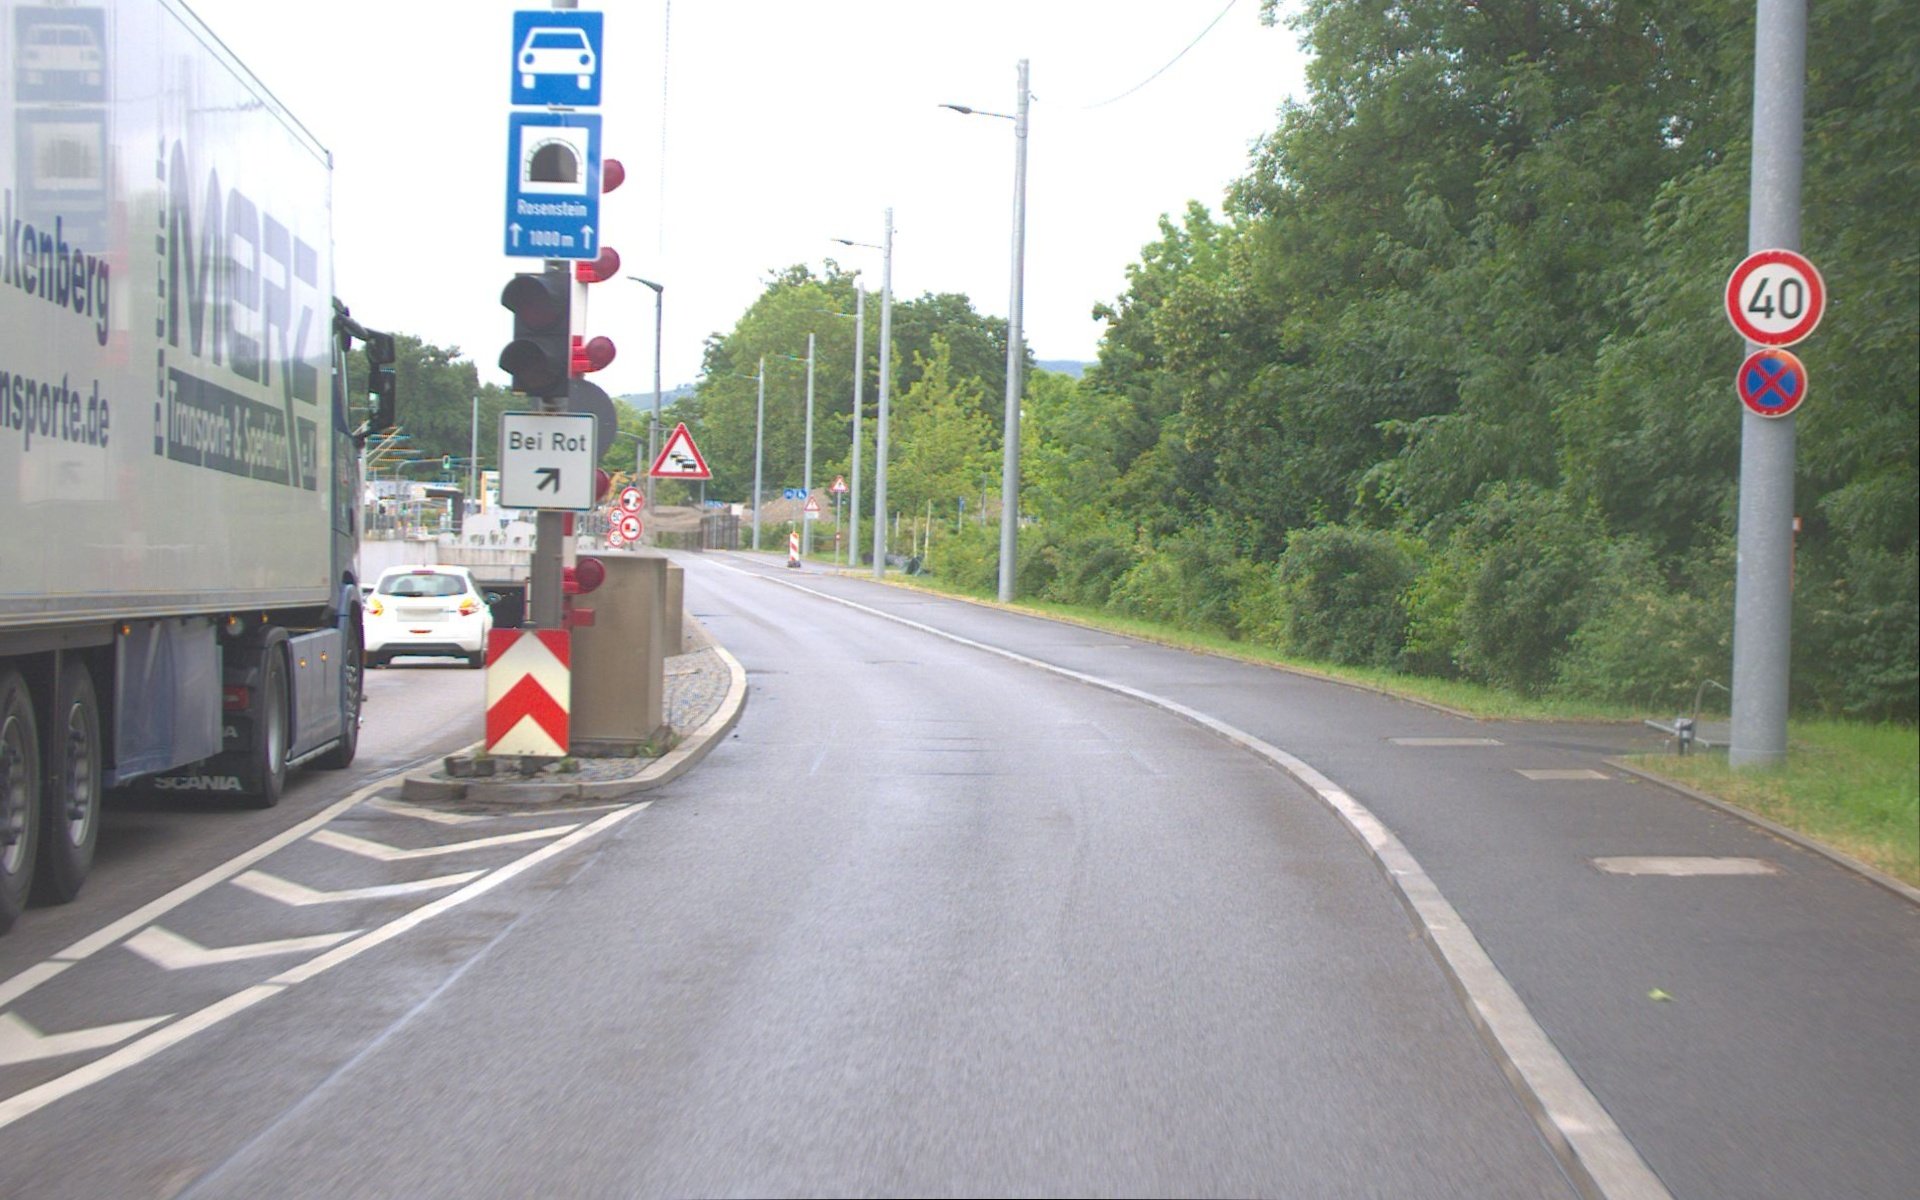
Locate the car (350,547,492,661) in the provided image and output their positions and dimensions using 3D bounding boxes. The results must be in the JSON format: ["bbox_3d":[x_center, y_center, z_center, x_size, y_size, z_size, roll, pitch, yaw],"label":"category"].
[{"bbox_3d":[-7.727,0.026,49.525,1.809,1.419,4.001,1,3,-6],"label":"car"}]

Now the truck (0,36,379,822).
[{"bbox_3d":[-5.331,-0.994,21.488,2.755,4.190,6.308,0,2,-4],"label":"truck"}]

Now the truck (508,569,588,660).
[{"bbox_3d":[-19.138,0.626,159.912,3.517,4.026,8.076,1,1,-6],"label":"truck"}]

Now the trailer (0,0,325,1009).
[{"bbox_3d":[-4.869,-0.807,14.695,2.762,4.238,13.186,0,2,-4],"label":"trailer"}]

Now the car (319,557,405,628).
[{"bbox_3d":[-13.899,-0.193,80.059,1.681,1.441,4.001,1,3,-6],"label":"car"}]
